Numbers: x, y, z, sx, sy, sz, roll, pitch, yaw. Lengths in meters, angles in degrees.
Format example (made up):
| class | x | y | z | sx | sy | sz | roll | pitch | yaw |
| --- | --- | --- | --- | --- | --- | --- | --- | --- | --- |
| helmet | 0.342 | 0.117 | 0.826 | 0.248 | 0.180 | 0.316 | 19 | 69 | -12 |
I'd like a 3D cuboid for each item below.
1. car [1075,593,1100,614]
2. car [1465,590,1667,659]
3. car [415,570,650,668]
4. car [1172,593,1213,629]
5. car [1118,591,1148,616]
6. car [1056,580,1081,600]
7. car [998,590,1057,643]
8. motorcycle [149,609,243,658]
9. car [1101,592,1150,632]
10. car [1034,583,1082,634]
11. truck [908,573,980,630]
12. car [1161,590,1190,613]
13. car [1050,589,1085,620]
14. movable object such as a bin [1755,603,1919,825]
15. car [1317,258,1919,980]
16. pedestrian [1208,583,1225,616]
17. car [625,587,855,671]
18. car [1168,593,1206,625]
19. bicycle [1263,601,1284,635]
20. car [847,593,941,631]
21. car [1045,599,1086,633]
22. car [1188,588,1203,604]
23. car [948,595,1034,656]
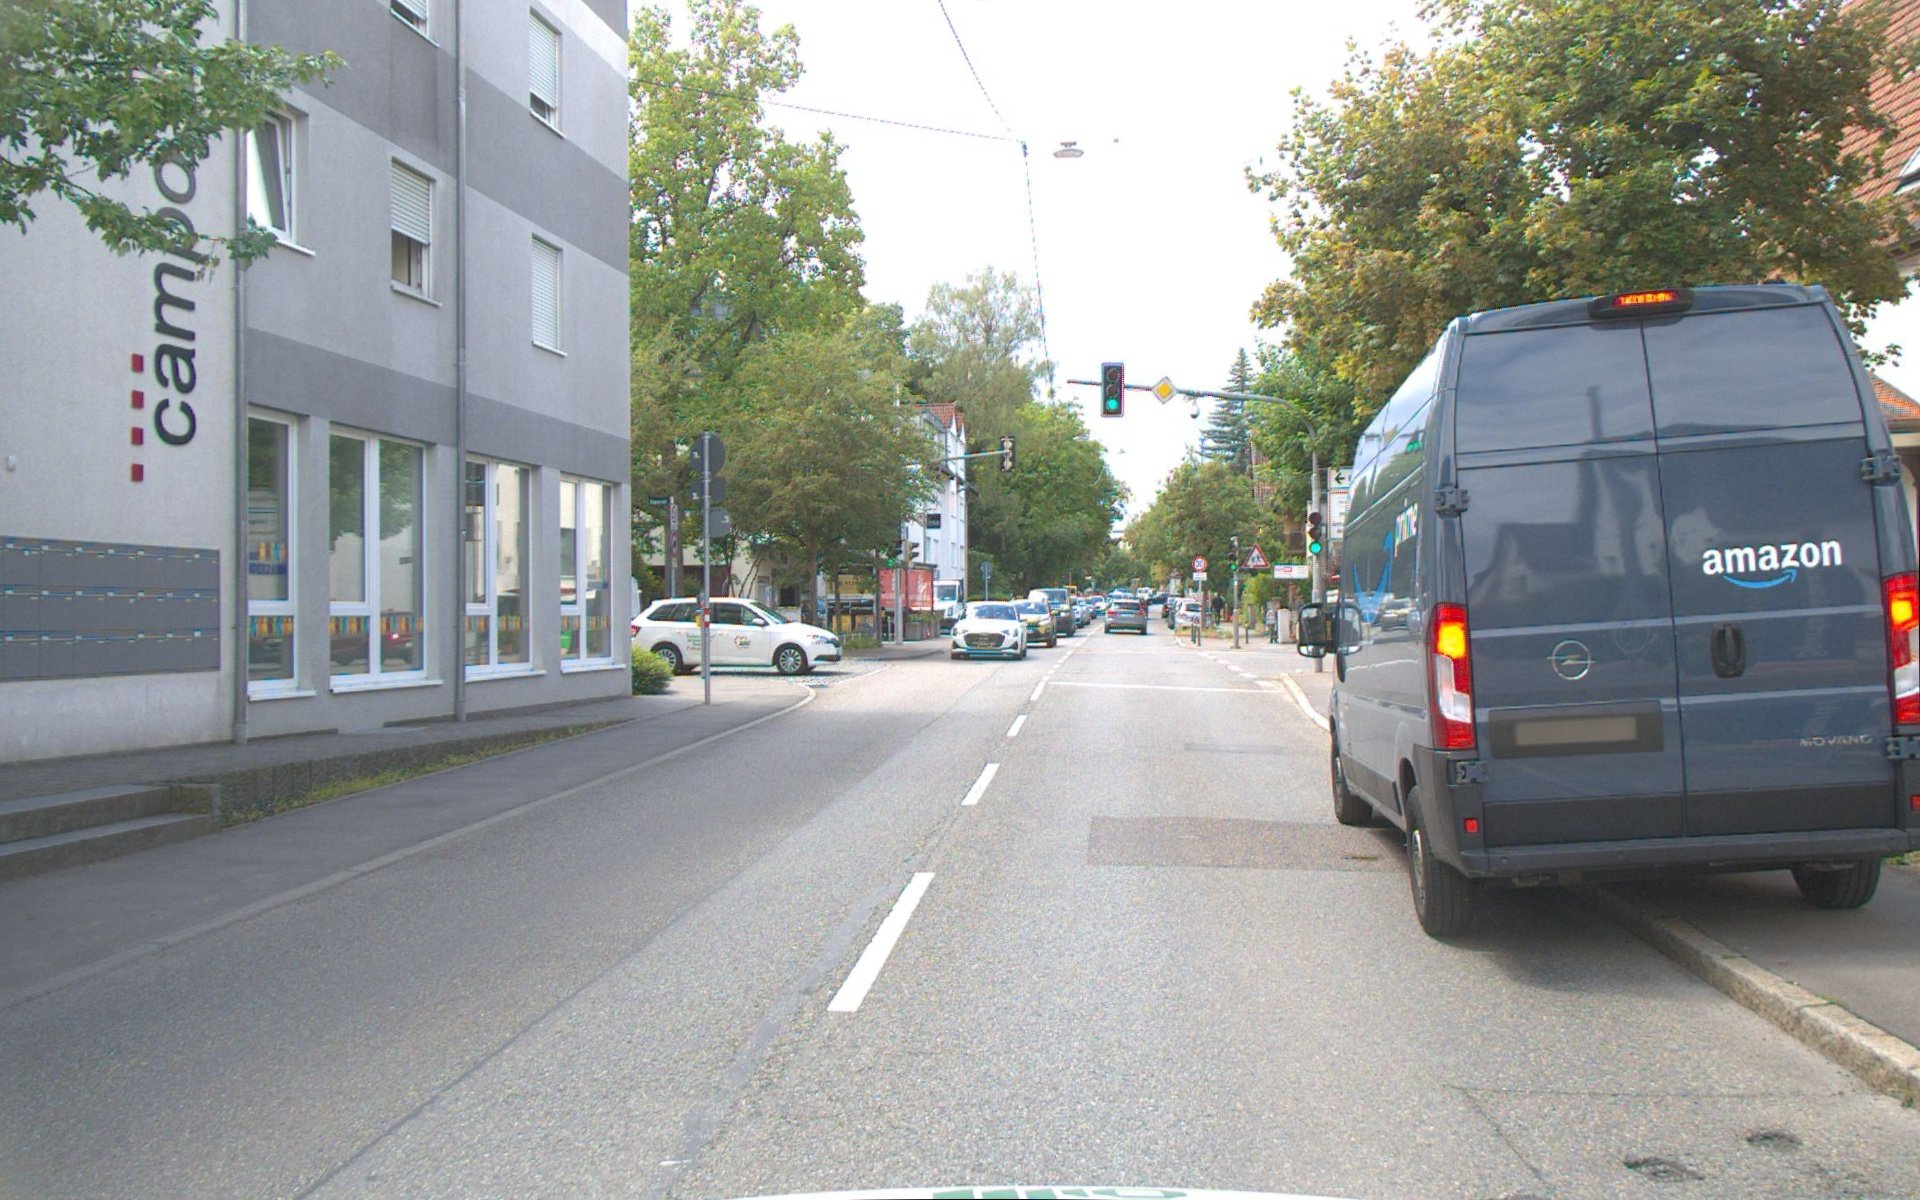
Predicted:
| class | x | y | z | sx | sy | sz | roll | pitch | yaw |
| --- | --- | --- | --- | --- | --- | --- | --- | --- | --- |
| car | 9.620 | 0.276 | 124.630 | 1.722 | 1.464 | 3.973 | -2 | 1 | 6 |
| car | 14.104 | 0.536 | 38.560 | 4.095 | 1.440 | 1.775 | -1 | 1 | -10 |
| car | -9.267 | 0.384 | 36.121 | 4.524 | 2.044 | 2.096 | 0 | 0 | 3 |
| car | 10.529 | 0.481 | 75.024 | 1.665 | 1.506 | 4.876 | 1 | 1 | 6 |
| car | 11.195 | 0.216 | 106.910 | 1.777 | 1.527 | 4.270 | 1 | 1 | 7 |
| car | 11.139 | -1.046 | 169.114 | 2.100 | 2.015 | 4.935 | 0 | 0 | 9 |
| car | 2.202 | 0.497 | 53.156 | 1.691 | 1.565 | 4.003 | 0 | 1 | 5 |
| motorcycle | -16.703 | 0.717 | 36.240 | 1.178 | 1.022 | 2.336 | 0 | 0 | -6 |
| car | 7.264 | 0.505 | 72.227 | 1.934 | 1.539 | 4.270 | 3 | 1 | 7 |
| car | 3.989 | 0.316 | 67.017 | 1.837 | 1.946 | 4.754 | 0 | 0 | 4 |
| truck | -0.653 | 0.071 | 73.336 | 2.177 | 2.421 | 6.331 | 0 | 0 | 9 |
| car | 14.780 | 0.088 | 113.640 | 1.763 | 1.470 | 4.890 | 2 | 1 | 5 |
| car | 5.884 | 0.227 | 90.001 | 1.692 | 1.529 | 4.379 | -2 | 0 | 6 |
| movable object such as a bin | 5.910 | 0.666 | 10.395 | 1.167 | 1.288 | 1.200 | 0 | 0 | -26 |
| car | 3.396 | 0.061 | 9.669 | 2.102 | 2.819 | 6.254 | 0 | 0 | 8 |
| pedestrian | 13.699 | -0.029 | 88.326 | 0.861 | 1.742 | 0.843 | 0 | -1 | 8 |
| car | -4.252 | 0.538 | 32.334 | 4.122 | 1.540 | 1.823 | 0 | 1 | 6 |
| car | 11.448 | 0.440 | 83.541 | 1.697 | 1.453 | 4.886 | 3 | 1 | 6 |
| bicycle | 11.237 | 0.643 | 59.214 | 0.705 | 1.170 | 2.215 | 0 | 0 | 11 |
| car | -2.624 | 0.474 | 66.194 | 3.615 | 1.450 | 1.806 | 0 | 0 | 2 |
| car | 5.282 | 0.772 | 82.435 | 1.767 | 1.598 | 4.162 | -2 | 0 | 6 |
| car | 30.262 | -0.485 | 212.607 | 1.951 | 2.049 | 4.003 | 0 | 0 | 8 |
| car | 0.847 | 0.599 | 41.863 | 1.834 | 1.449 | 4.118 | 0 | 0 | 6 |
